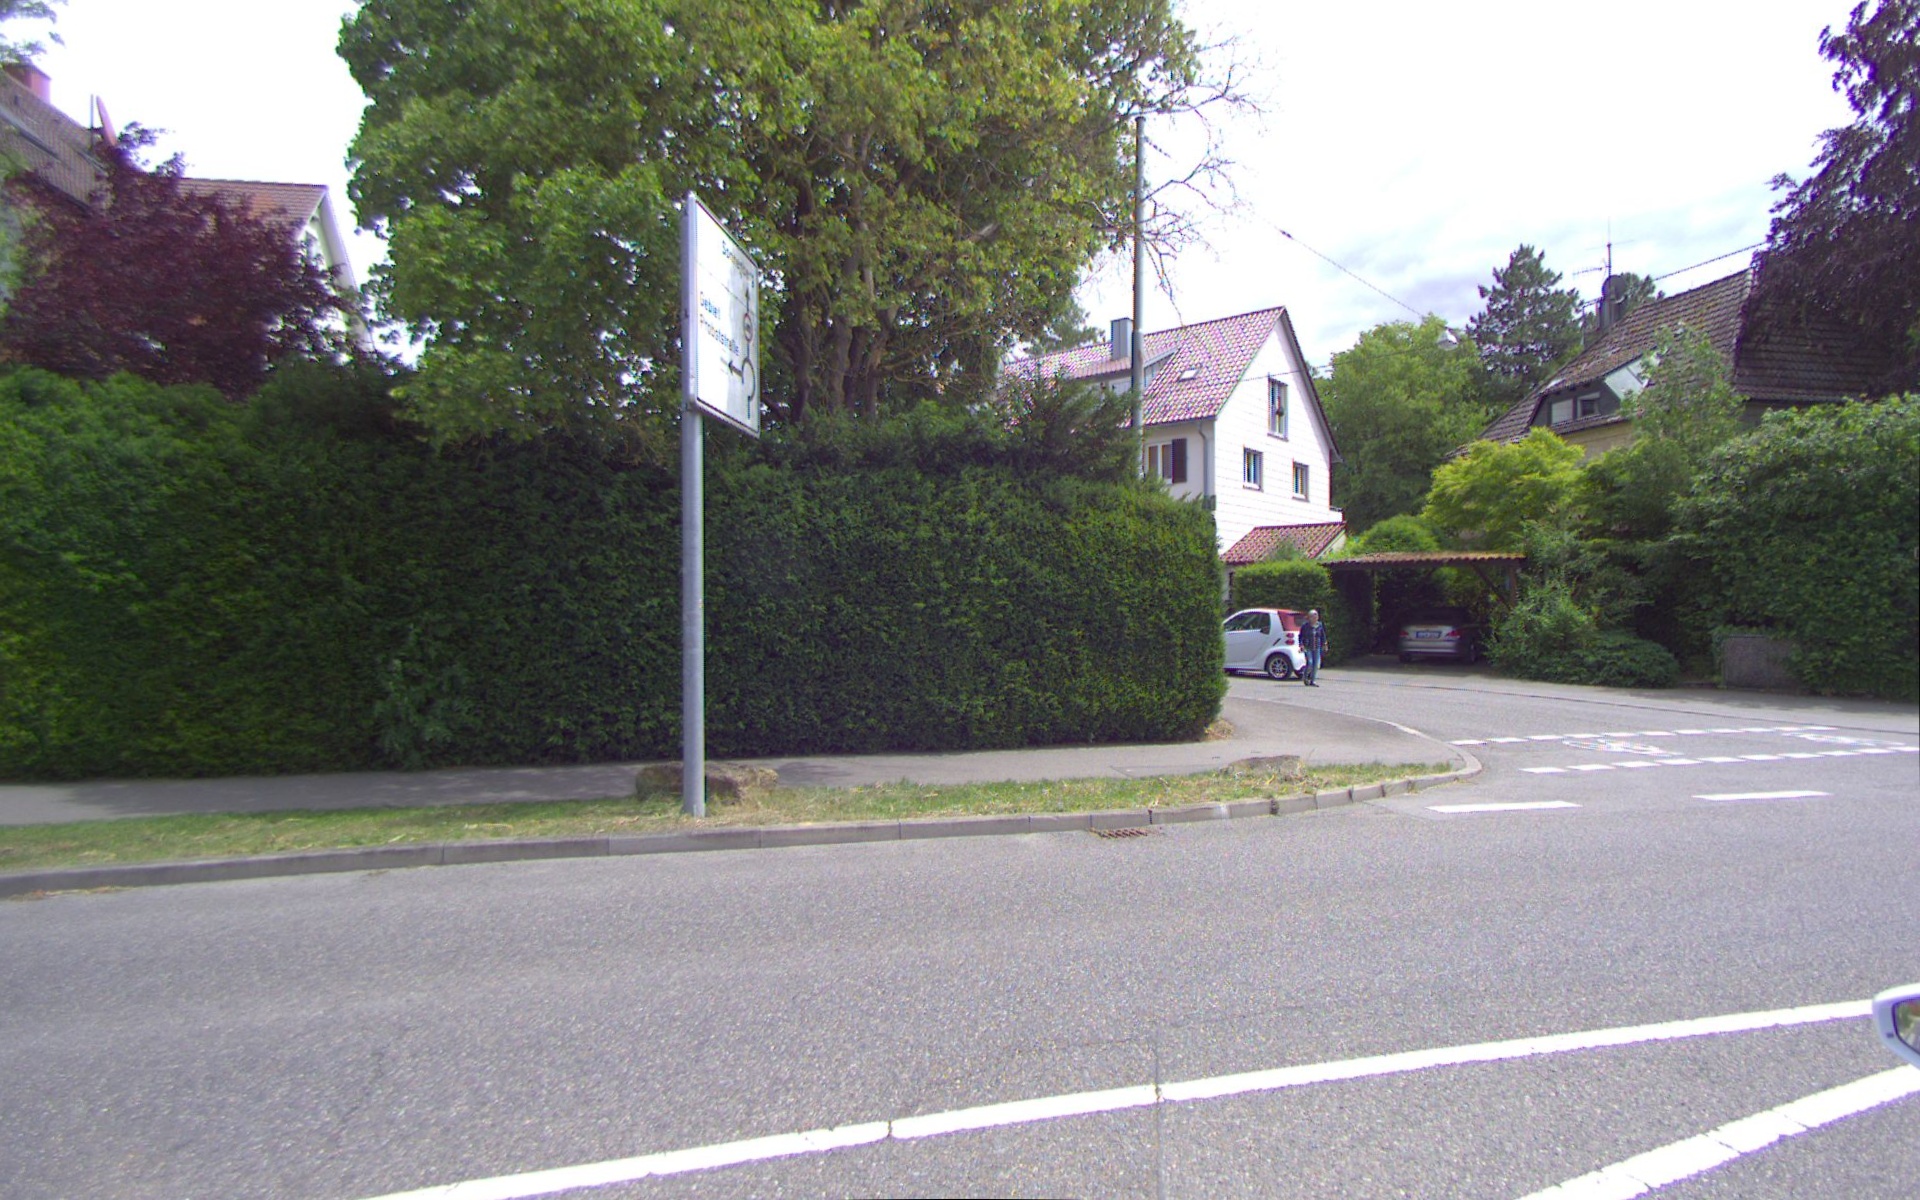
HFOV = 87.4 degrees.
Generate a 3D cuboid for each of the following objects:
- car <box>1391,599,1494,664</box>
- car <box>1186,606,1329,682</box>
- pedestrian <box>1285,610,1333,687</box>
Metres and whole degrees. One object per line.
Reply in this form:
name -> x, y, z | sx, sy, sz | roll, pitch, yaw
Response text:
car -> 12.585, 0.762, 26.080 | 1.701, 1.530, 3.985 | 1, 0, 36
car -> 6.819, 0.963, 23.130 | 2.738, 1.576, 1.581 | 1, 0, 42
pedestrian -> 7.071, 0.969, 20.360 | 0.720, 1.529, 0.624 | 1, 0, 43
